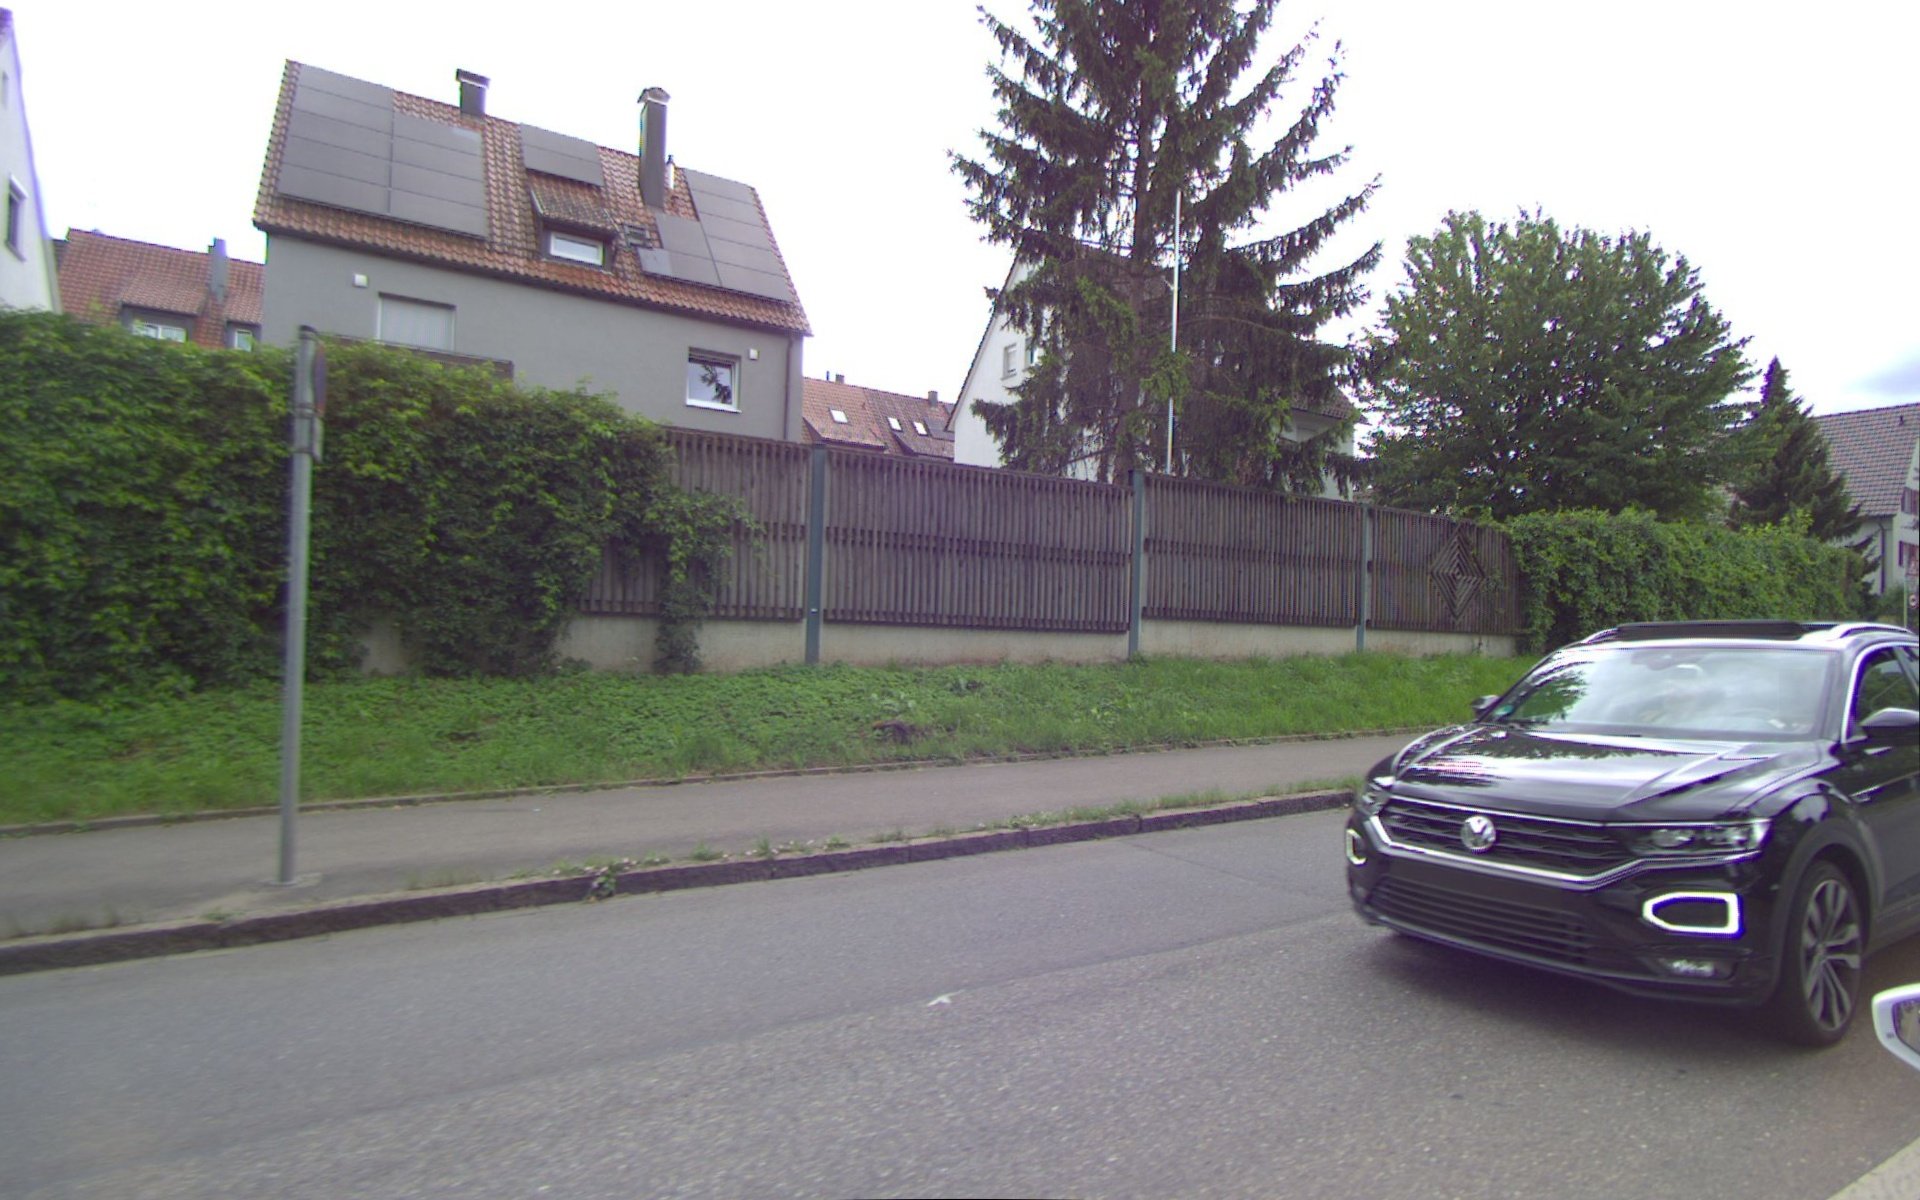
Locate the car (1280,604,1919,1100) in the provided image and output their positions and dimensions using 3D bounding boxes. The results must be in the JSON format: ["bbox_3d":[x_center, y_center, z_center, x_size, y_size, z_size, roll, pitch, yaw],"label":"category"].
[{"bbox_3d":[3.726,0.865,5.008,4.129,1.544,1.804,1,-3,-31],"label":"car"}]
